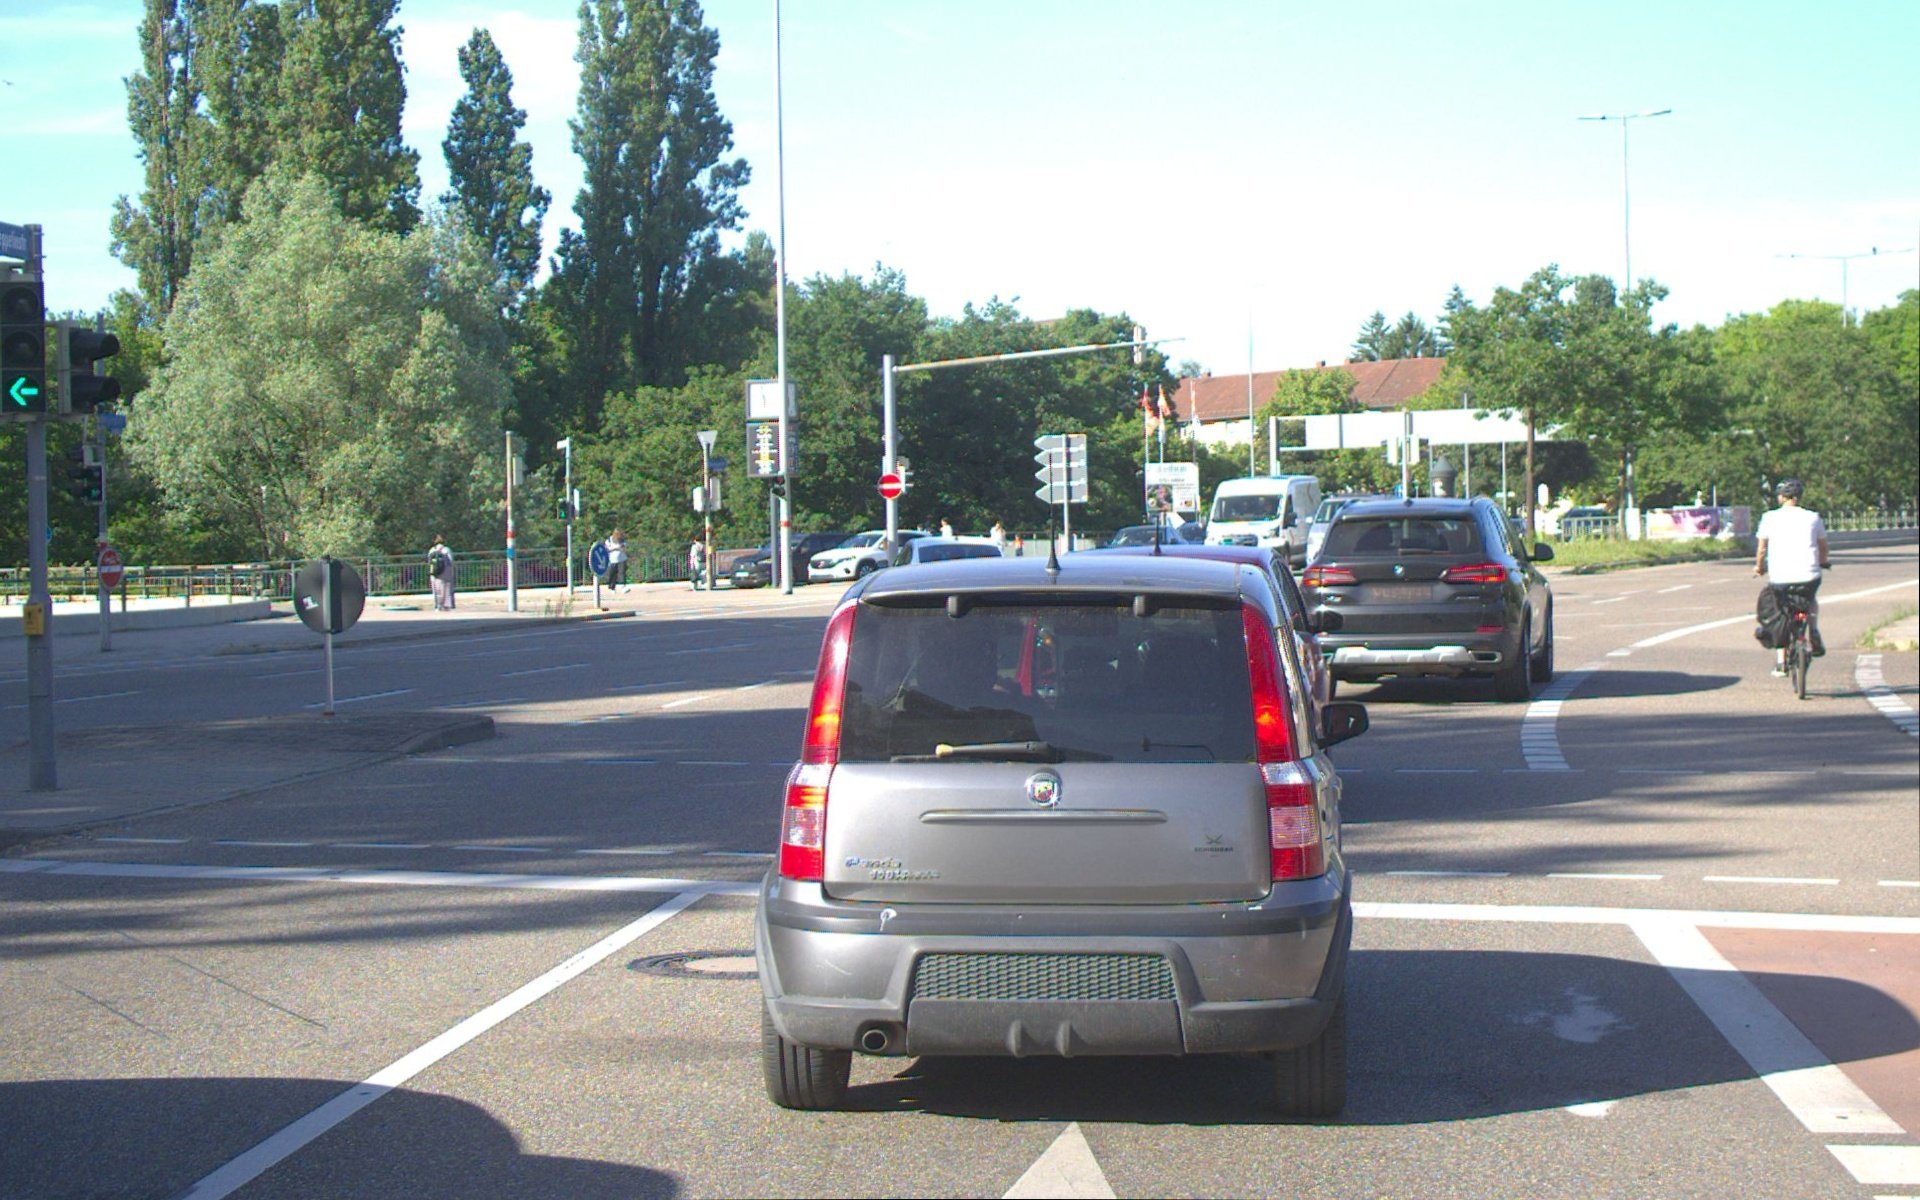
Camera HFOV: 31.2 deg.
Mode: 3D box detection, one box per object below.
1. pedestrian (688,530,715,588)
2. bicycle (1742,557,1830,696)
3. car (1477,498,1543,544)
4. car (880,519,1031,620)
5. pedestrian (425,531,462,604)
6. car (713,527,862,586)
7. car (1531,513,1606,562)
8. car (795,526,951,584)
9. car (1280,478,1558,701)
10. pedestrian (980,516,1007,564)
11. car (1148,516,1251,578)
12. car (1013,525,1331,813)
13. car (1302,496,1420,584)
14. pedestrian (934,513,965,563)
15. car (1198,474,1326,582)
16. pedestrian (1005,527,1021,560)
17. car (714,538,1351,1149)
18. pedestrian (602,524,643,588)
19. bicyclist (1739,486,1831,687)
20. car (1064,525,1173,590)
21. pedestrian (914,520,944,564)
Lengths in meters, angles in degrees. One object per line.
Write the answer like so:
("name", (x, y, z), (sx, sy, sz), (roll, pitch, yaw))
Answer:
("pedestrian", (-6.936, -1.096, 92.214), (0.556, 1.542, 0.576), (-2, 0, -19))
("bicycle", (6.931, 0.202, 28.851), (0.691, 1.098, 1.825), (0, 1, 14))
("car", (23.503, -3.360, 146.876), (1.996, 1.810, 3.996), (0, 0, 21))
("car", (-0.112, -0.481, 51.044), (1.780, 1.410, 4.320), (-1, 1, -6))
("pedestrian", (-10.362, -0.658, 68.960), (0.679, 1.458, 0.703), (-1, 1, -9))
("car", (-4.961, -1.245, 99.199), (3.988, 1.620, 1.900), (1, -1, -42))
("car", (21.187, -2.177, 119.614), (1.938, 1.616, 4.502), (-1, 1, 18))
("car", (-2.431, -1.276, 96.504), (4.317, 1.530, 1.784), (-2, 3, -44))
("car", (4.157, -0.129, 30.574), (1.946, 1.833, 4.150), (-1, 1, 15))
("pedestrian", (1.174, -2.060, 118.800), (0.721, 1.635, 0.672), (0, -1, 22))
("car", (6.538, -1.463, 93.418), (1.812, 1.536, 4.613), (-2, 1, 16))
("car", (1.296, 0.314, 19.682), (1.618, 1.458, 3.750), (1, 1, 6))
("car", (9.592, -1.458, 81.890), (1.938, 2.001, 4.928), (-1, 1, 17))
("pedestrian", (-0.354, -2.048, 114.109), (0.790, 1.658, 0.629), (0, -1, 30))
("car", (7.577, -1.814, 85.709), (1.938, 2.567, 6.084), (-1, 1, 17))
("pedestrian", (1.827, -1.943, 118.709), (0.424, 1.132, 0.397), (0, -1, 22))
("car", (0.385, 0.582, 10.695), (1.618, 1.510, 3.819), (1, 1, 6))
("pedestrian", (-8.346, -1.087, 85.015), (0.709, 1.542, 0.729), (-2, 0, -31))
("bicyclist", (6.936, -0.126, 28.905), (0.724, 1.654, 1.112), (0, 1, 14))
("car", (4.022, -1.092, 86.640), (1.938, 1.502, 3.998), (-2, 1, 14))
("pedestrian", (-1.043, -1.971, 116.884), (0.672, 1.497, 0.777), (0, -1, 36))
